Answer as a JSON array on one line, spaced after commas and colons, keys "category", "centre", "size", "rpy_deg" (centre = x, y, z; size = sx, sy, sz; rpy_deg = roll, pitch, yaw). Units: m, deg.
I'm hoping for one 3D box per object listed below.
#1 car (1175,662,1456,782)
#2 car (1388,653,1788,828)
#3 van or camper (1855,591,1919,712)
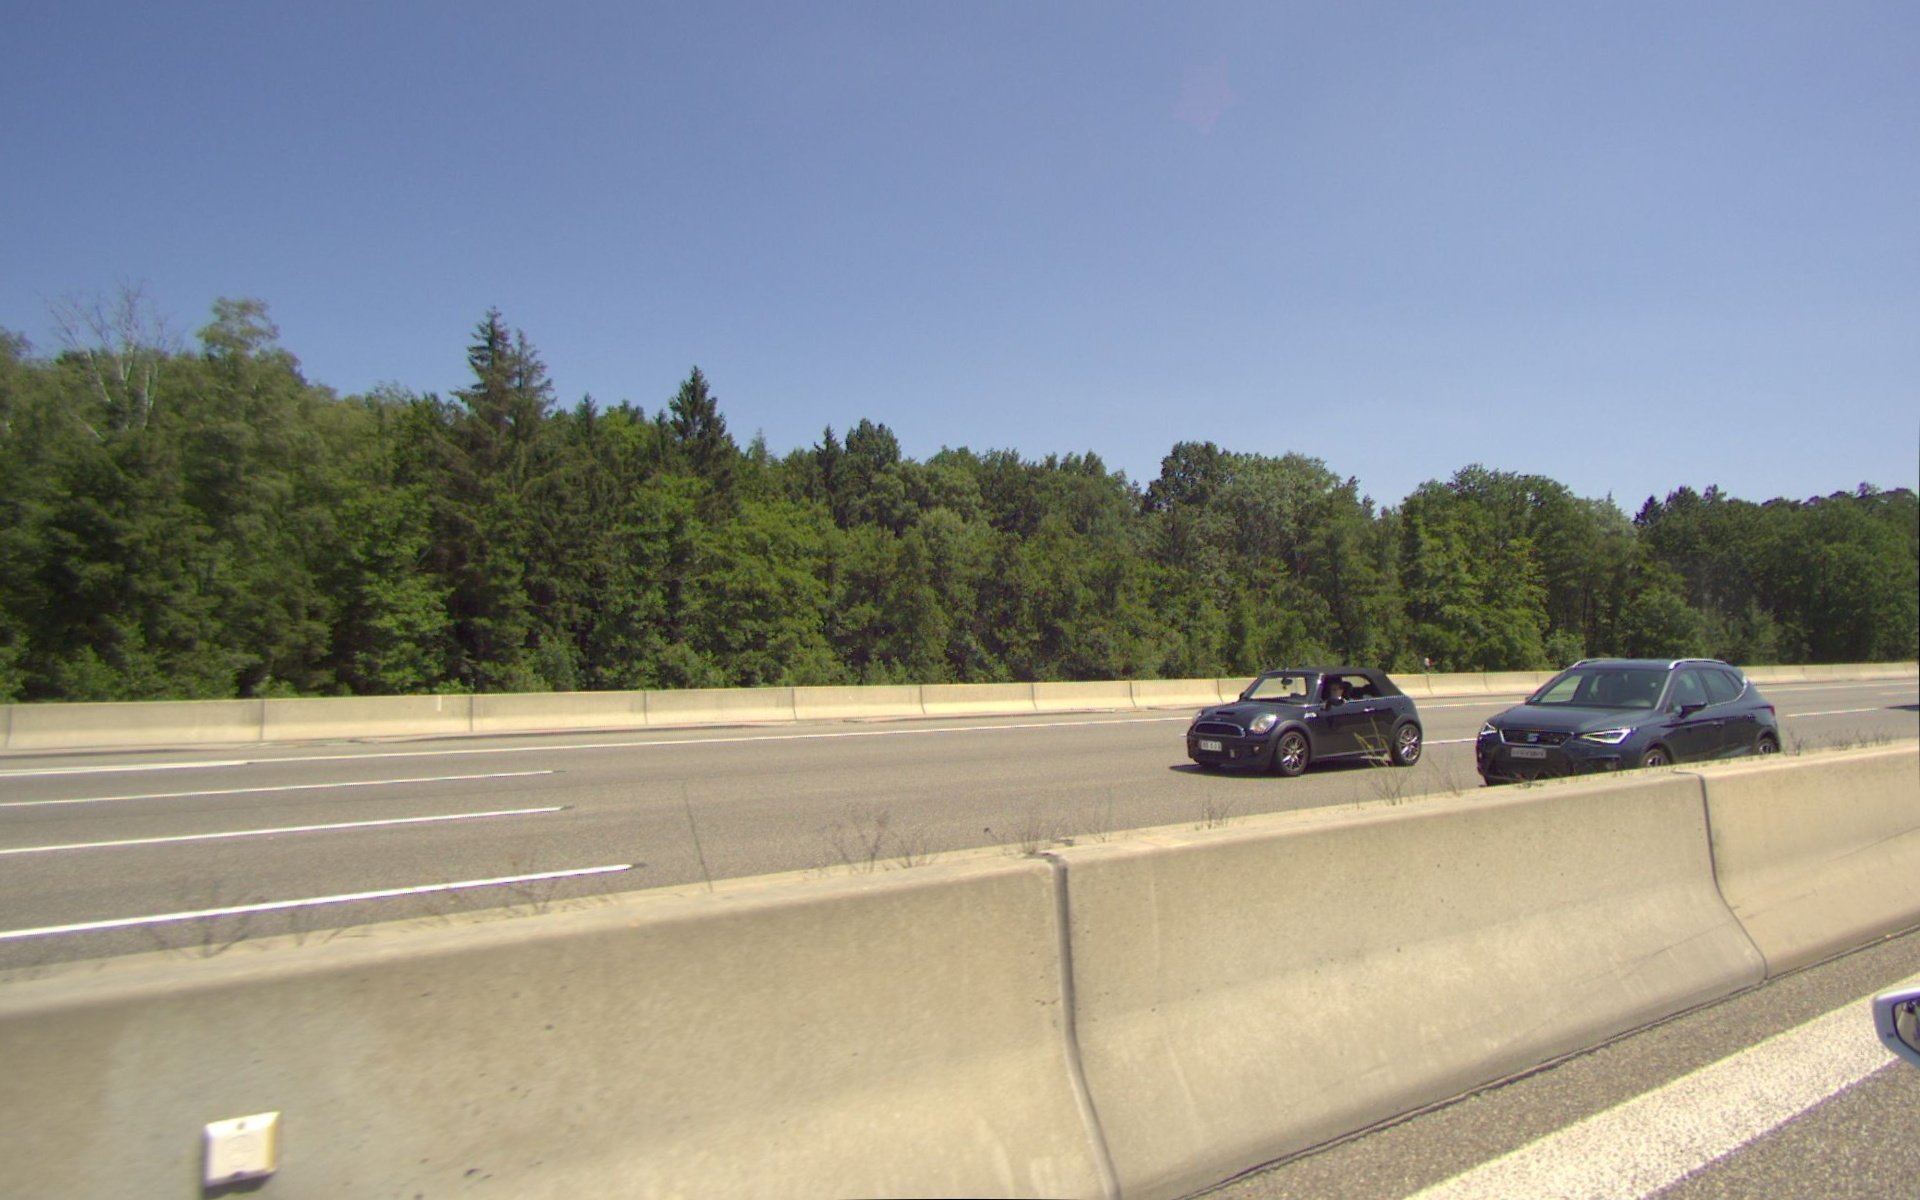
[{"category": "car", "centre": [5.203, 1.680, 14.577], "size": [4.075, 1.501, 1.528], "rpy_deg": [1, -4, -30]}, {"category": "car", "centre": [7.047, 1.395, 11.088], "size": [4.999, 1.557, 1.714], "rpy_deg": [2, -4, -32]}, {"category": "van or camper", "centre": [27.960, 1.448, 27.957], "size": [7.934, 3.097, 2.188], "rpy_deg": [2, -3, -31]}]
